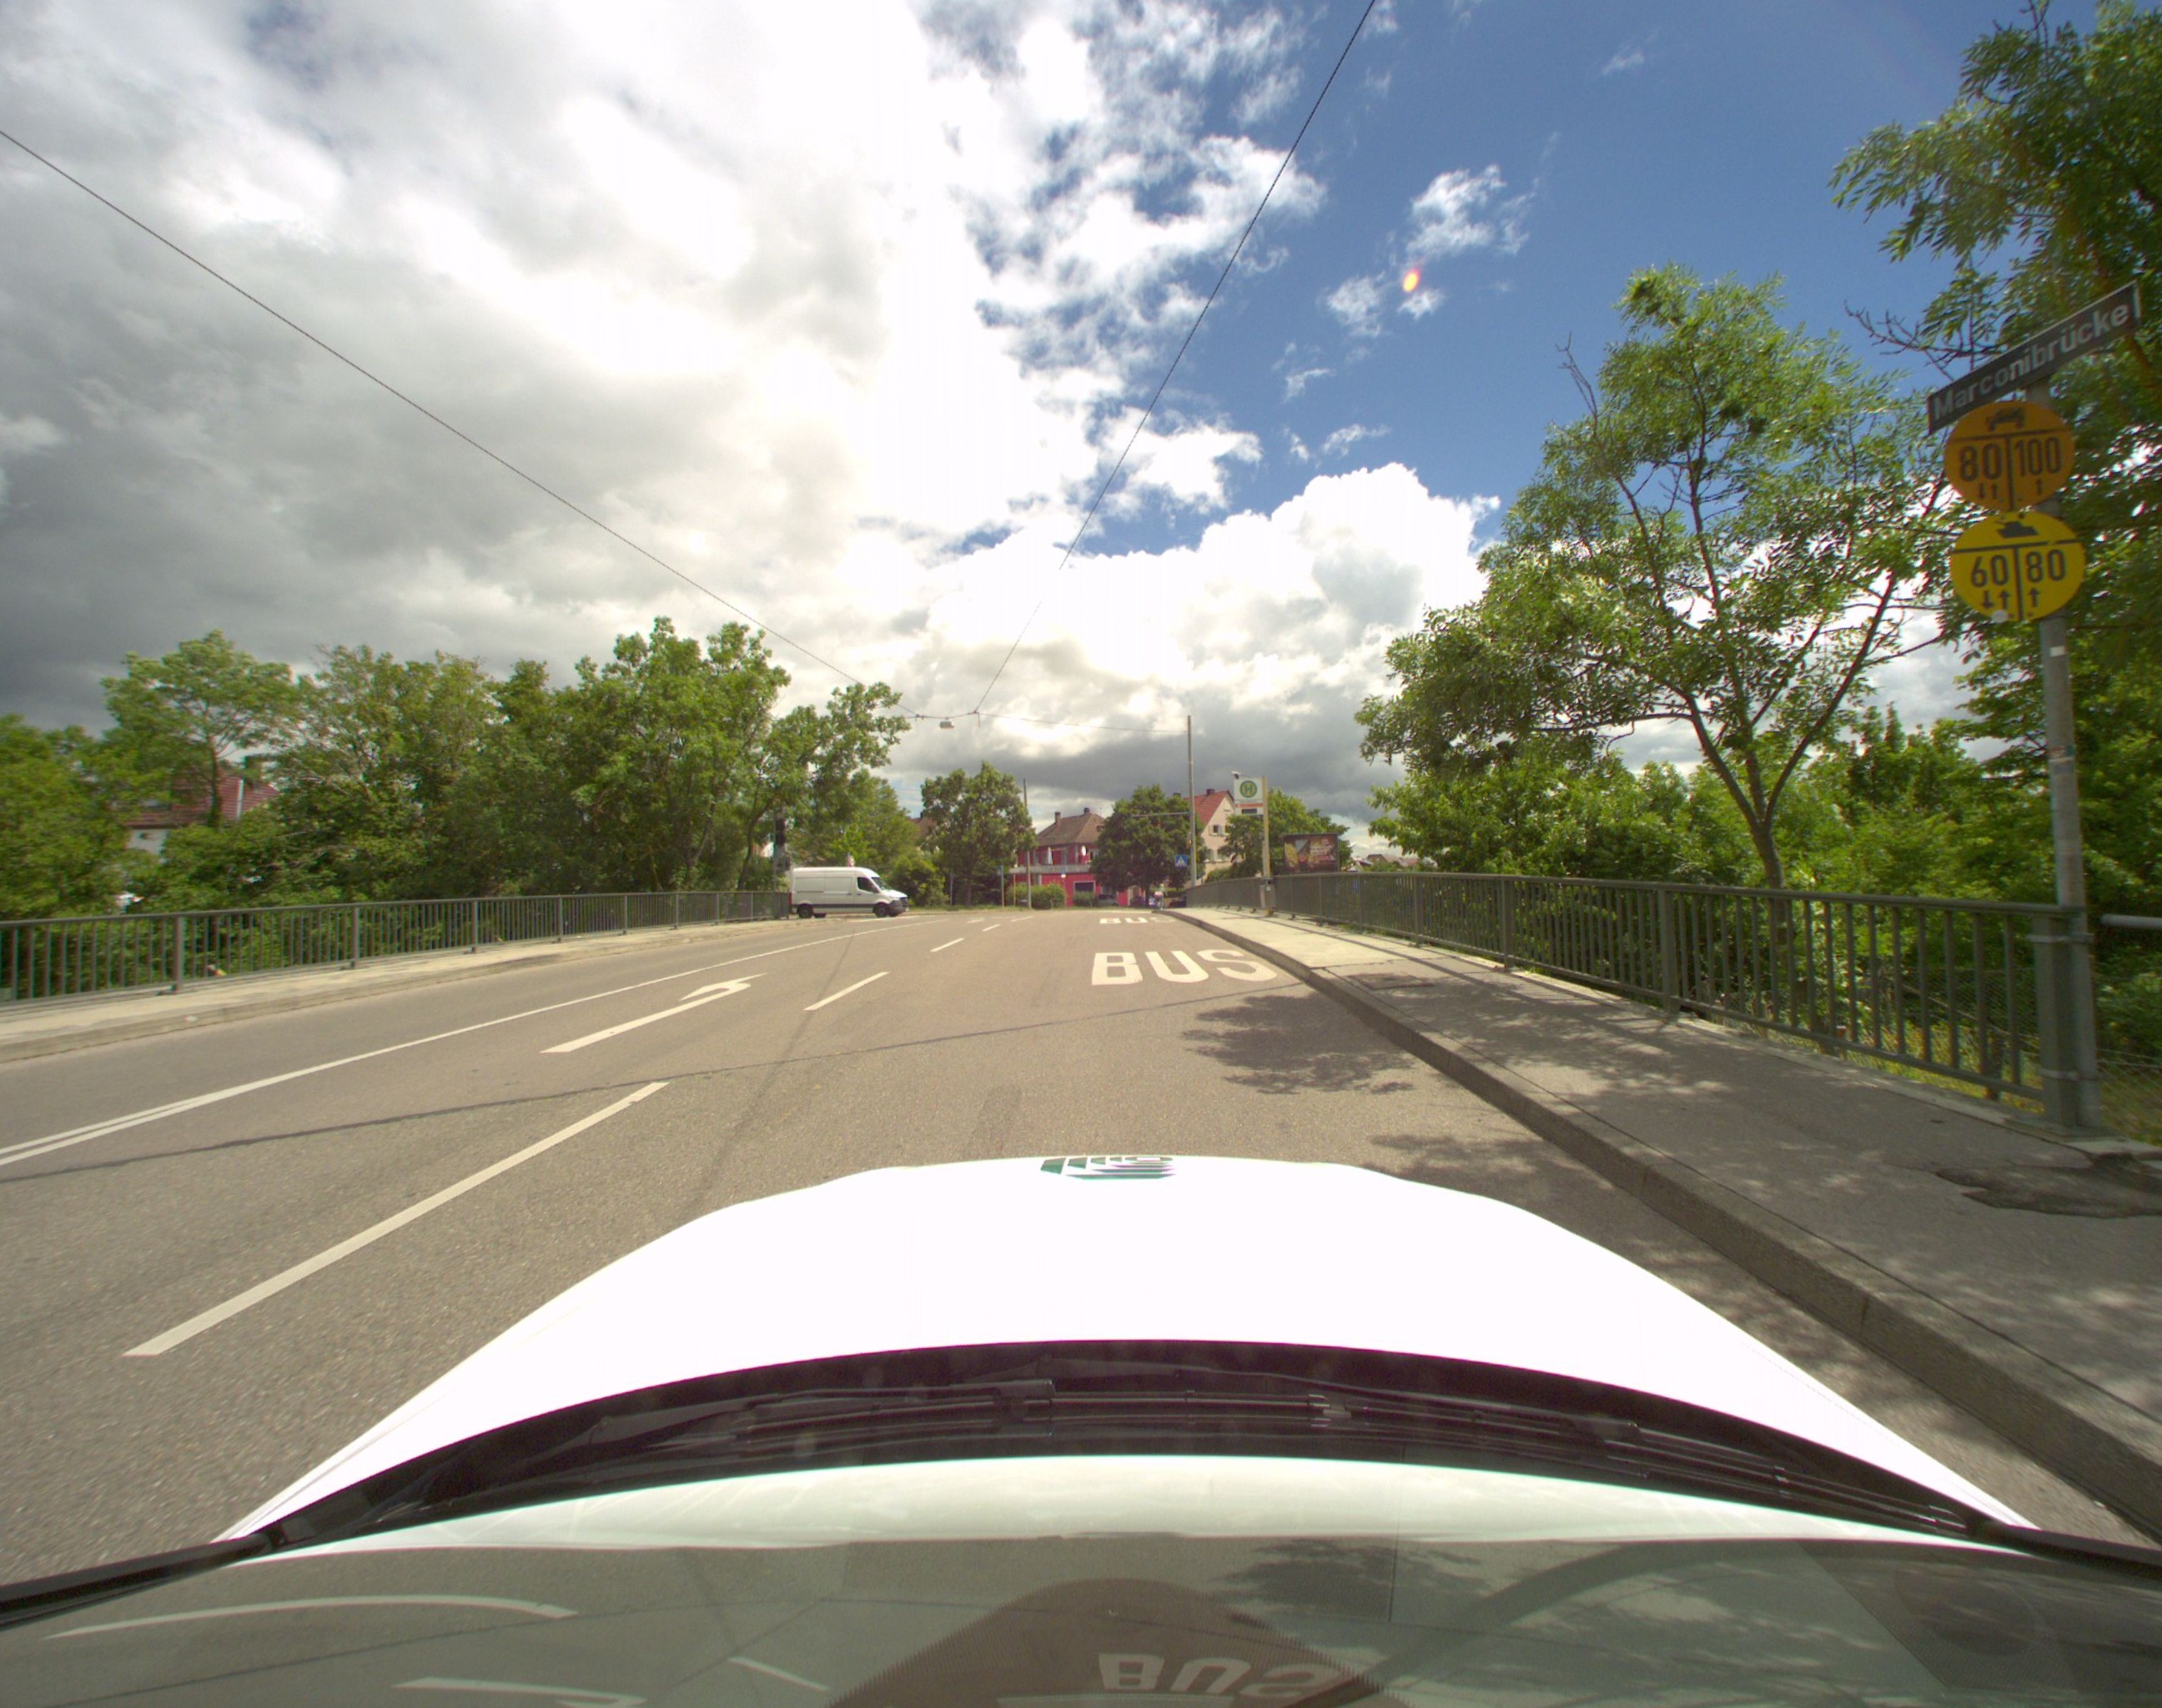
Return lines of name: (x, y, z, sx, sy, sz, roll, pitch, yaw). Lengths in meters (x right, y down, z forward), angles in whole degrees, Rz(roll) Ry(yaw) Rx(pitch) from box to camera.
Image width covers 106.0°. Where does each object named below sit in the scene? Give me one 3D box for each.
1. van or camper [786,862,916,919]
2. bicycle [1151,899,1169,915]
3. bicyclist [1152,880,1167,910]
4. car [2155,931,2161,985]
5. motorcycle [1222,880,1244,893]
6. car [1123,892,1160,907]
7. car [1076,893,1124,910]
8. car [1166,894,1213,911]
van or camper: (-11.647, 1.877, 41.402, 5.884, 2.568, 2.195, -3, -4, 3)
bicycle: (4.845, 3.268, 49.917, 0.682, 0.879, 2.110, -2, -6, 17)
bicyclist: (4.786, 2.515, 49.828, 0.679, 1.826, 1.084, -2, -6, 16)
car: (32.404, 2.956, 21.863, 2.003, 1.508, 3.967, 3, -3, -24)
motorcycle: (15.855, 3.385, 84.947, 2.243, 1.316, 0.911, 3, -4, -32)
car: (5.894, 4.457, 79.650, 1.848, 1.378, 3.776, 2, -5, -30)
car: (1.693, 4.275, 73.303, 4.091, 1.426, 1.629, 2, -3, -32)
car: (9.536, 4.266, 71.775, 2.006, 1.394, 4.103, 2, -3, -30)
